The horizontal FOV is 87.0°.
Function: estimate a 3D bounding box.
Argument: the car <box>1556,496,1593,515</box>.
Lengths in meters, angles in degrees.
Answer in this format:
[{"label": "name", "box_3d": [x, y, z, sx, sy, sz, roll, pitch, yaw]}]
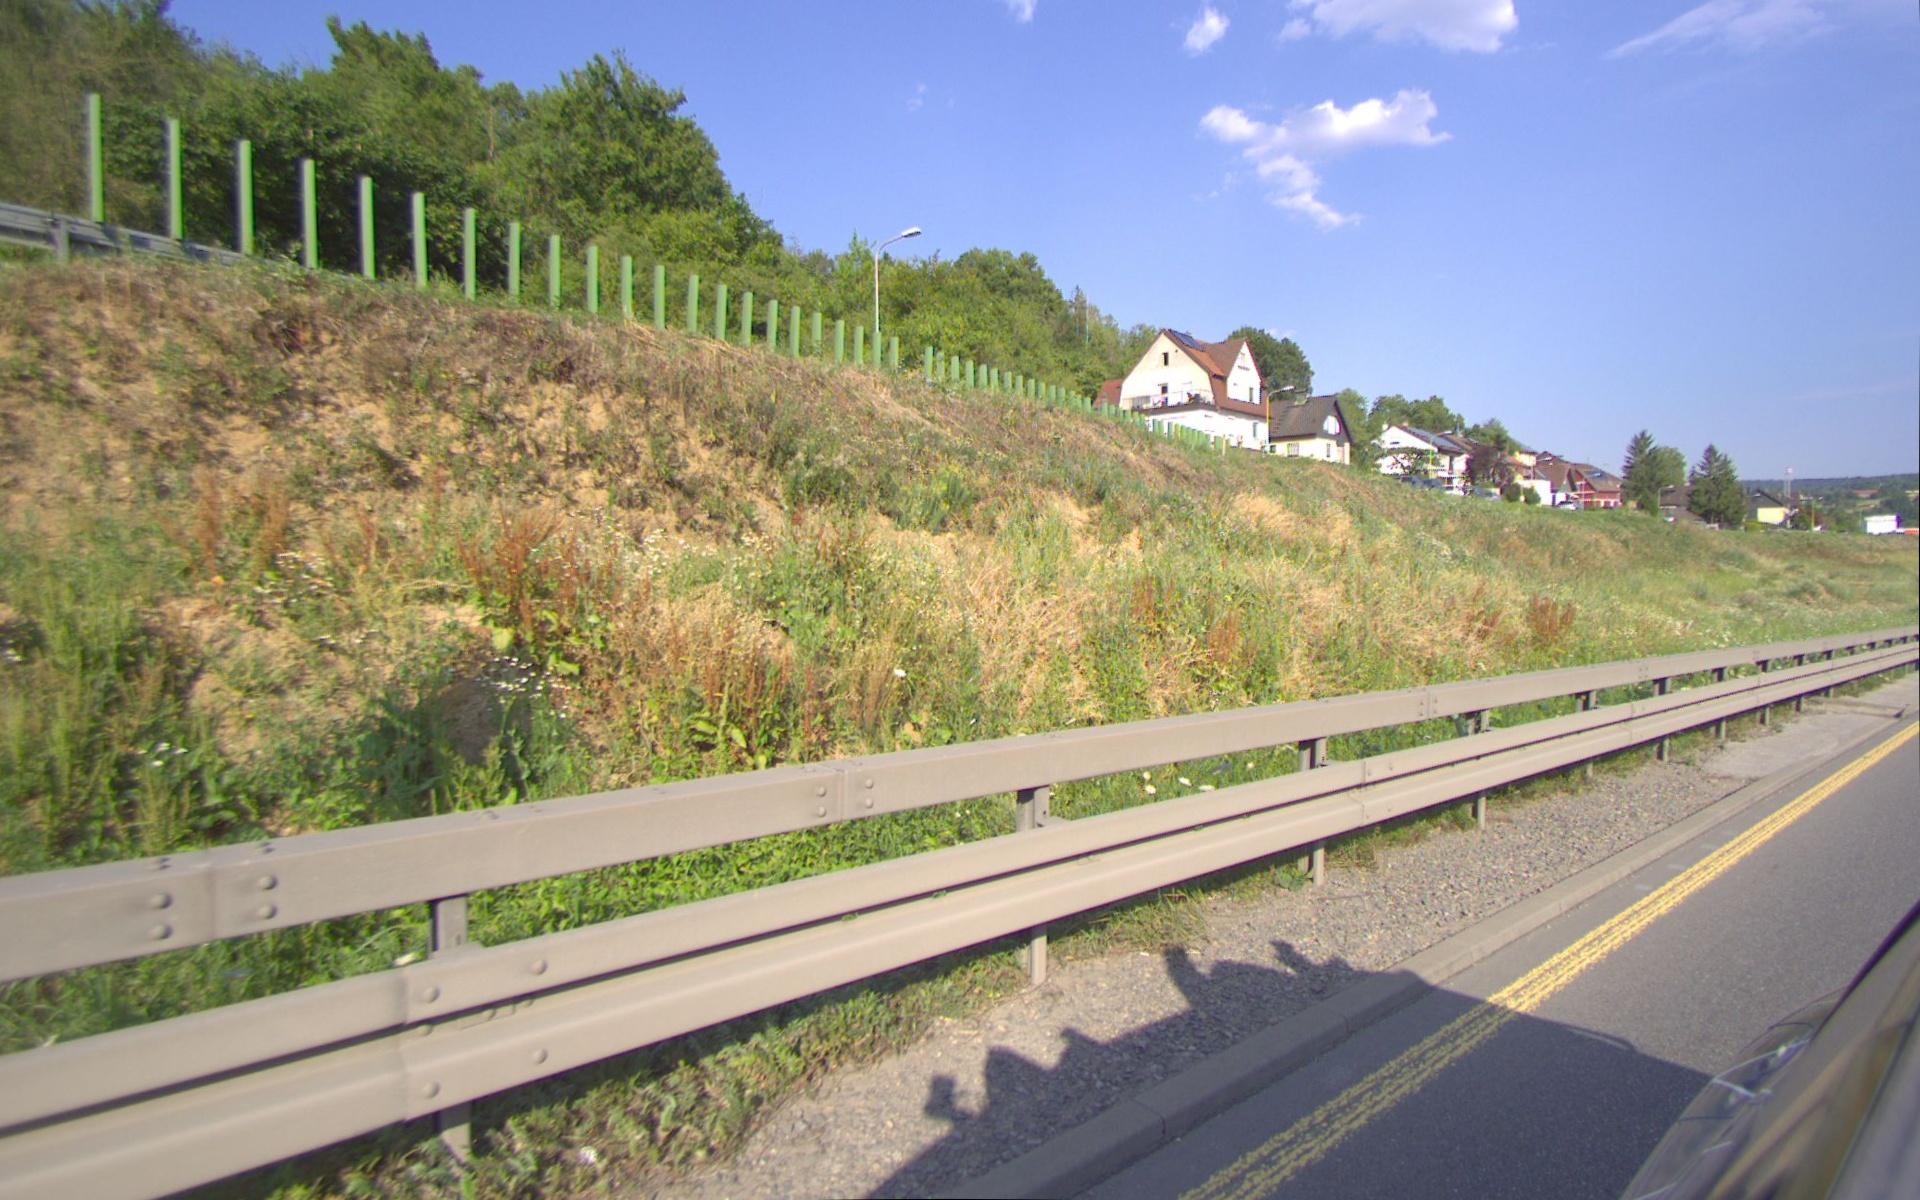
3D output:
[{"label": "car", "box_3d": [59.011, -9.068, 97.213, 3.932, 1.460, 1.996, -1, 1, -42]}]
